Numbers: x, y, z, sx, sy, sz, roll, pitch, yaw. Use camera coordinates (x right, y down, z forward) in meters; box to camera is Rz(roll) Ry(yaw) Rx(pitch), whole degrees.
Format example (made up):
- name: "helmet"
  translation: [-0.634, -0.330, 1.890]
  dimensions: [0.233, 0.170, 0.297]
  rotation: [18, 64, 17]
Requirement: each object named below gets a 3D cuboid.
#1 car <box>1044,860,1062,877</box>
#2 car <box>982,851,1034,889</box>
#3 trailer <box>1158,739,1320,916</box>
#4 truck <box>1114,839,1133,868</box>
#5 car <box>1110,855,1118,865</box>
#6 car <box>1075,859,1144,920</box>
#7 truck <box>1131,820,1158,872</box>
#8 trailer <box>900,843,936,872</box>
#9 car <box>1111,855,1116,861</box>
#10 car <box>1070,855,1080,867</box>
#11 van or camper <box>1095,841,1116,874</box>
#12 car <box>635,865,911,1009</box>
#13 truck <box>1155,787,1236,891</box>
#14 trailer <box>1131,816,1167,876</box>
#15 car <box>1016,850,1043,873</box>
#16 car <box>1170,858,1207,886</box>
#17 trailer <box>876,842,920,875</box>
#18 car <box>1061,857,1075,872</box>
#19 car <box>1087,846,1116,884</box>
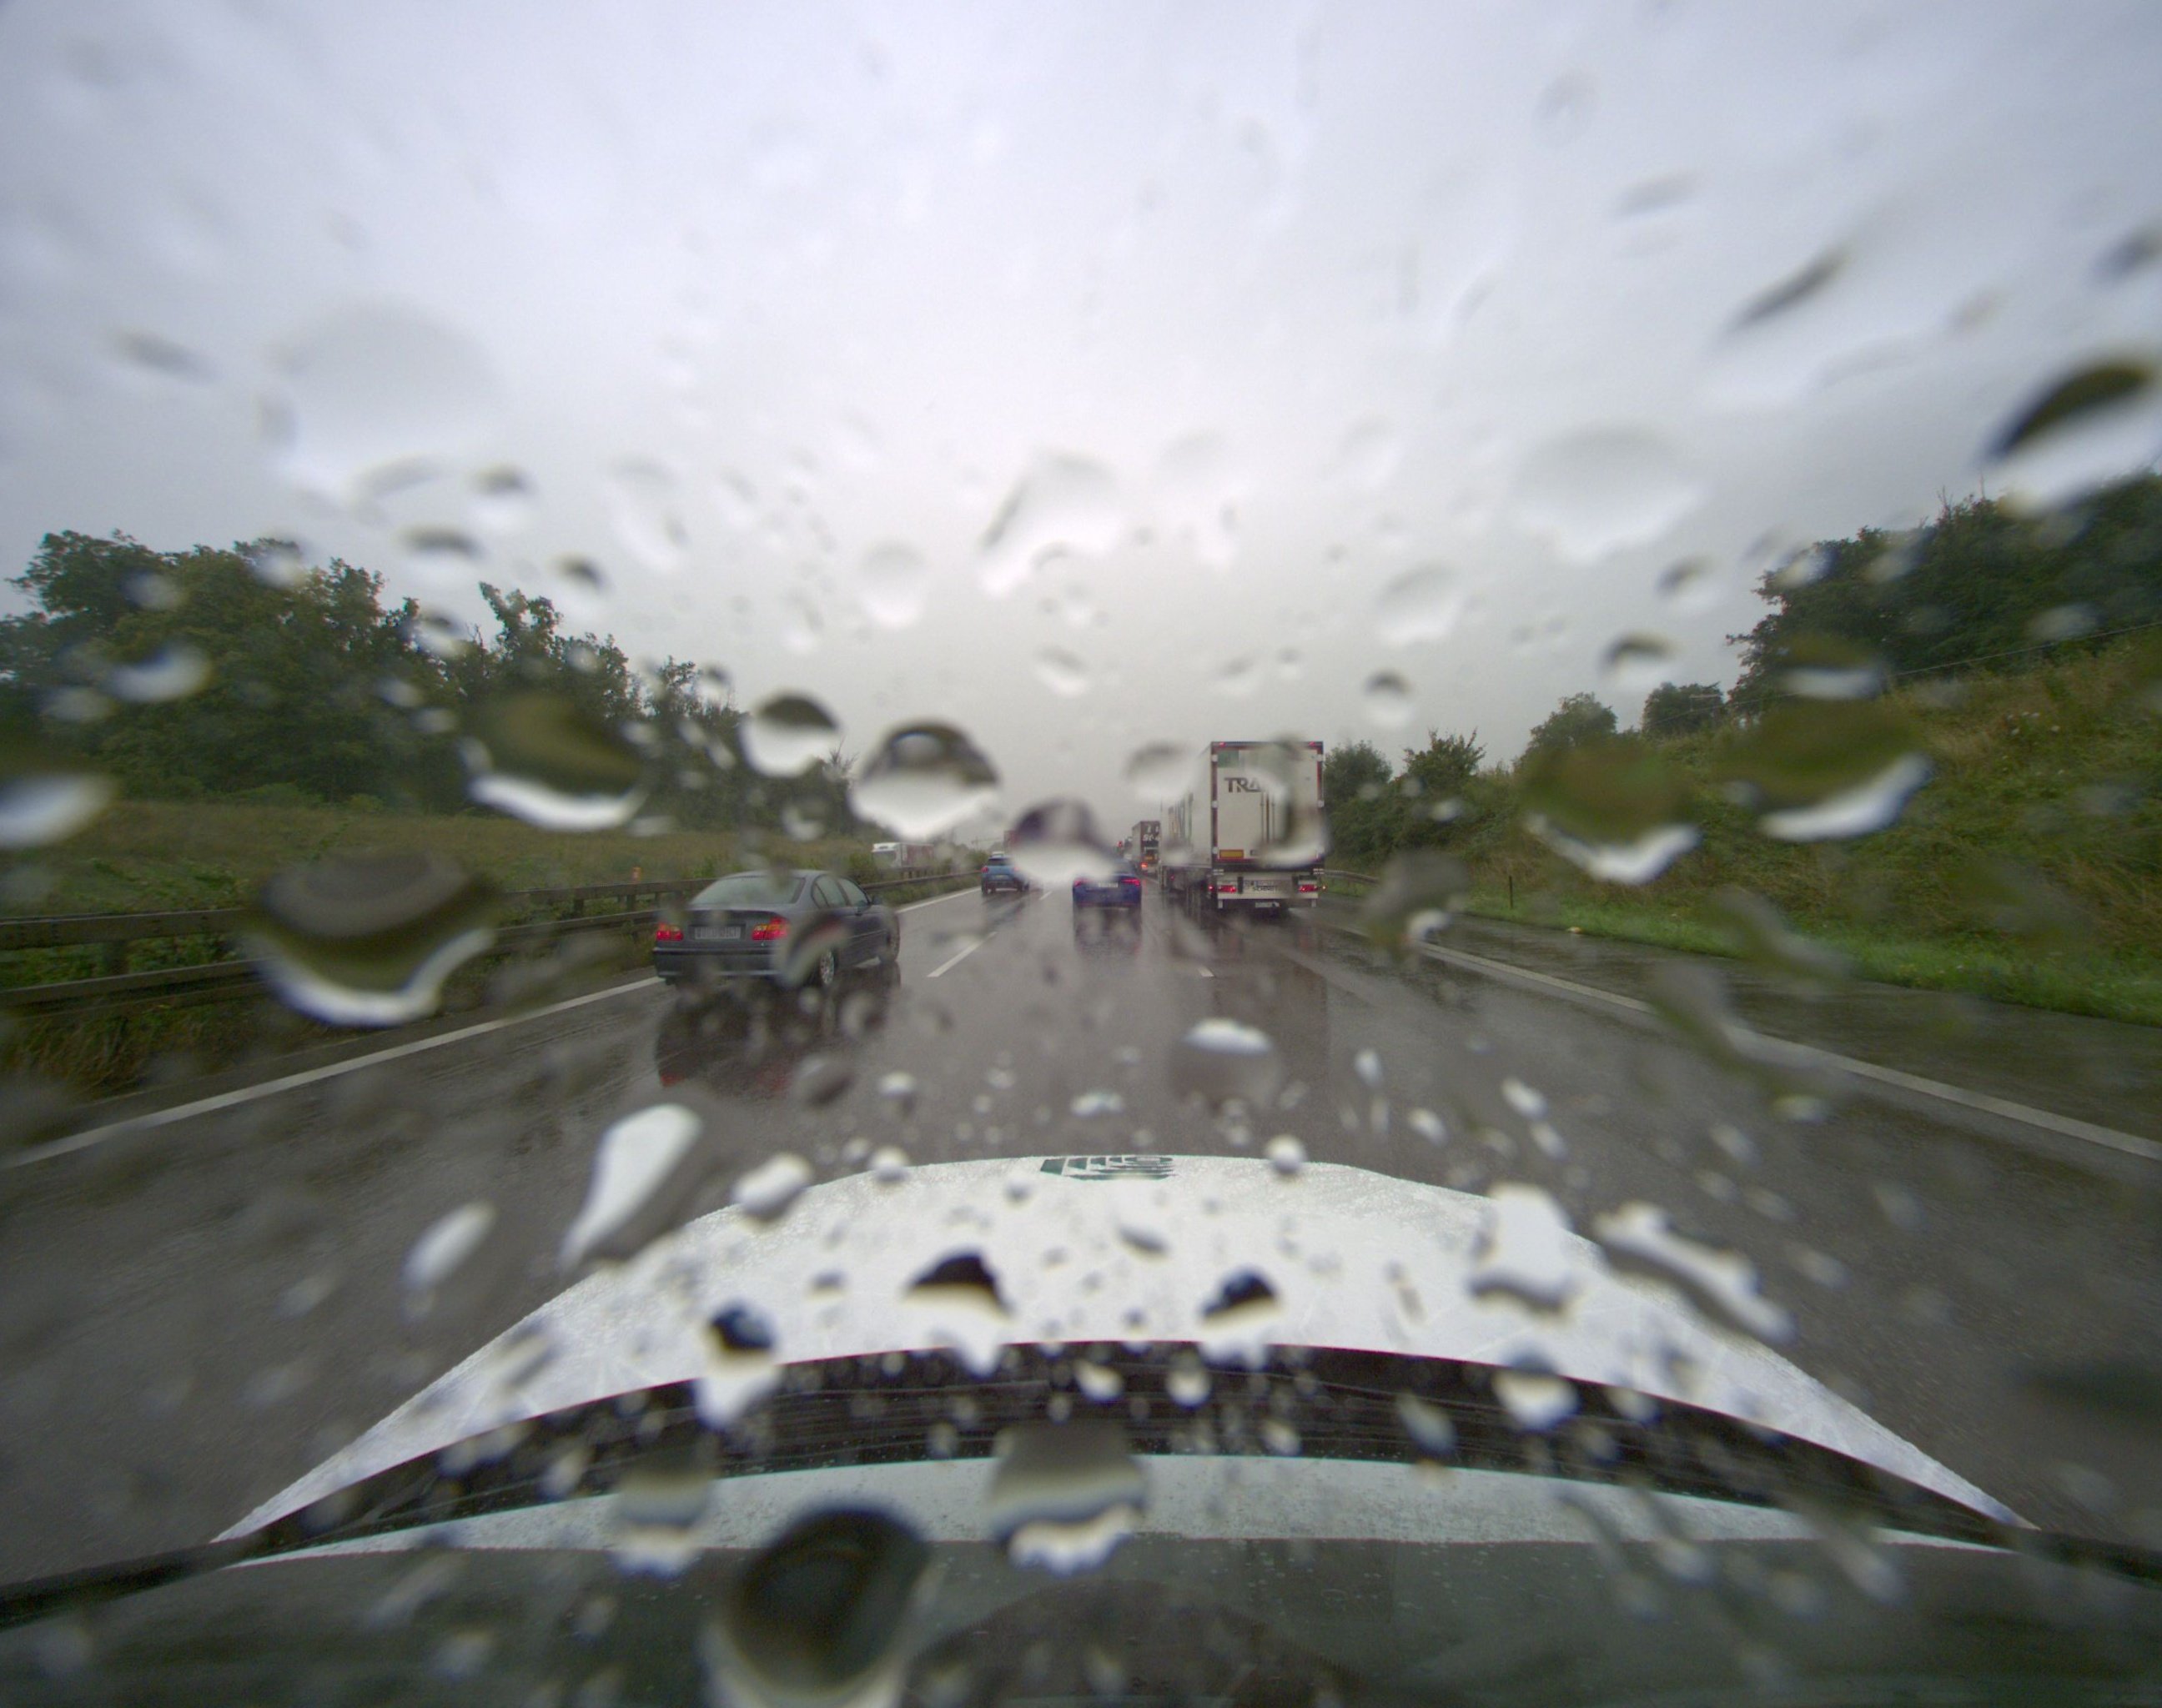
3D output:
- name: "car"
  translation: [-2.578, 1.302, 74.888]
  dimensions: [1.434, 1.420, 3.323]
  rotation: [-1, 0, 1]
- name: "car"
  translation: [-3.097, 0.664, 35.195]
  dimensions: [1.715, 1.523, 4.002]
  rotation: [-1, 0, 2]
- name: "trailer"
  translation: [4.310, -0.623, 25.970]
  dimensions: [2.621, 4.013, 14.633]
  rotation: [-1, 0, 1]
- name: "truck"
  translation: [5.263, -0.125, 101.441]
  dimensions: [1.987, 3.421, 8.031]
  rotation: [-1, 0, 0]
- name: "car"
  translation: [6.016, 1.049, 149.147]
  dimensions: [1.443, 1.784, 3.410]
  rotation: [0, -1, 1]
- name: "car"
  translation: [0.758, 0.863, 21.623]
  dimensions: [1.629, 1.445, 4.002]
  rotation: [-1, 0, 2]
- name: "truck"
  translation: [5.287, -0.631, 68.255]
  dimensions: [2.039, 4.193, 4.001]
  rotation: [-1, 0, 1]
- name: "trailer"
  translation: [-18.025, 0.369, 90.814]
  dimensions: [1.986, 3.082, 8.874]
  rotation: [-1, 0, 1]
- name: "car"
  translation: [9.600, 1.281, 237.783]
  dimensions: [1.443, 1.784, 3.410]
  rotation: [0, -1, 1]
- name: "car"
  translation: [-0.870, 1.032, 123.489]
  dimensions: [1.443, 1.784, 3.410]
  rotation: [0, -1, 1]
- name: "van or camper"
  translation: [2.147, 0.306, 72.172]
  dimensions: [1.791, 2.806, 4.769]
  rotation: [-1, 0, 1]
- name: "car"
  translation: [-3.602, 0.882, 10.444]
  dimensions: [1.711, 1.400, 4.233]
  rotation: [-1, 0, 3]
- name: "truck"
  translation: [4.469, -0.554, 32.605]
  dimensions: [2.621, 3.827, 4.792]
  rotation: [-1, 0, 1]
- name: "trailer"
  translation: [5.146, -0.605, 62.970]
  dimensions: [2.039, 4.176, 11.451]
  rotation: [-1, 0, 1]
- name: "car"
  translation: [-3.257, 0.457, 51.684]
  dimensions: [1.354, 1.431, 3.364]
  rotation: [-1, 0, 1]
- name: "car"
  translation: [5.244, 0.854, 39.956]
  dimensions: [1.418, 1.288, 3.461]
  rotation: [-1, 0, 1]
- name: "trailer"
  translation: [-18.243, 0.388, 81.576]
  dimensions: [1.986, 3.082, 9.557]
  rotation: [-1, 0, 1]
- name: "car"
  translation: [-1.442, 1.162, 92.044]
  dimensions: [1.434, 1.533, 3.323]
  rotation: [-1, 0, 1]
- name: "car"
  translation: [0.988, 0.508, 39.999]
  dimensions: [1.332, 1.780, 3.323]
  rotation: [-1, 0, 1]
